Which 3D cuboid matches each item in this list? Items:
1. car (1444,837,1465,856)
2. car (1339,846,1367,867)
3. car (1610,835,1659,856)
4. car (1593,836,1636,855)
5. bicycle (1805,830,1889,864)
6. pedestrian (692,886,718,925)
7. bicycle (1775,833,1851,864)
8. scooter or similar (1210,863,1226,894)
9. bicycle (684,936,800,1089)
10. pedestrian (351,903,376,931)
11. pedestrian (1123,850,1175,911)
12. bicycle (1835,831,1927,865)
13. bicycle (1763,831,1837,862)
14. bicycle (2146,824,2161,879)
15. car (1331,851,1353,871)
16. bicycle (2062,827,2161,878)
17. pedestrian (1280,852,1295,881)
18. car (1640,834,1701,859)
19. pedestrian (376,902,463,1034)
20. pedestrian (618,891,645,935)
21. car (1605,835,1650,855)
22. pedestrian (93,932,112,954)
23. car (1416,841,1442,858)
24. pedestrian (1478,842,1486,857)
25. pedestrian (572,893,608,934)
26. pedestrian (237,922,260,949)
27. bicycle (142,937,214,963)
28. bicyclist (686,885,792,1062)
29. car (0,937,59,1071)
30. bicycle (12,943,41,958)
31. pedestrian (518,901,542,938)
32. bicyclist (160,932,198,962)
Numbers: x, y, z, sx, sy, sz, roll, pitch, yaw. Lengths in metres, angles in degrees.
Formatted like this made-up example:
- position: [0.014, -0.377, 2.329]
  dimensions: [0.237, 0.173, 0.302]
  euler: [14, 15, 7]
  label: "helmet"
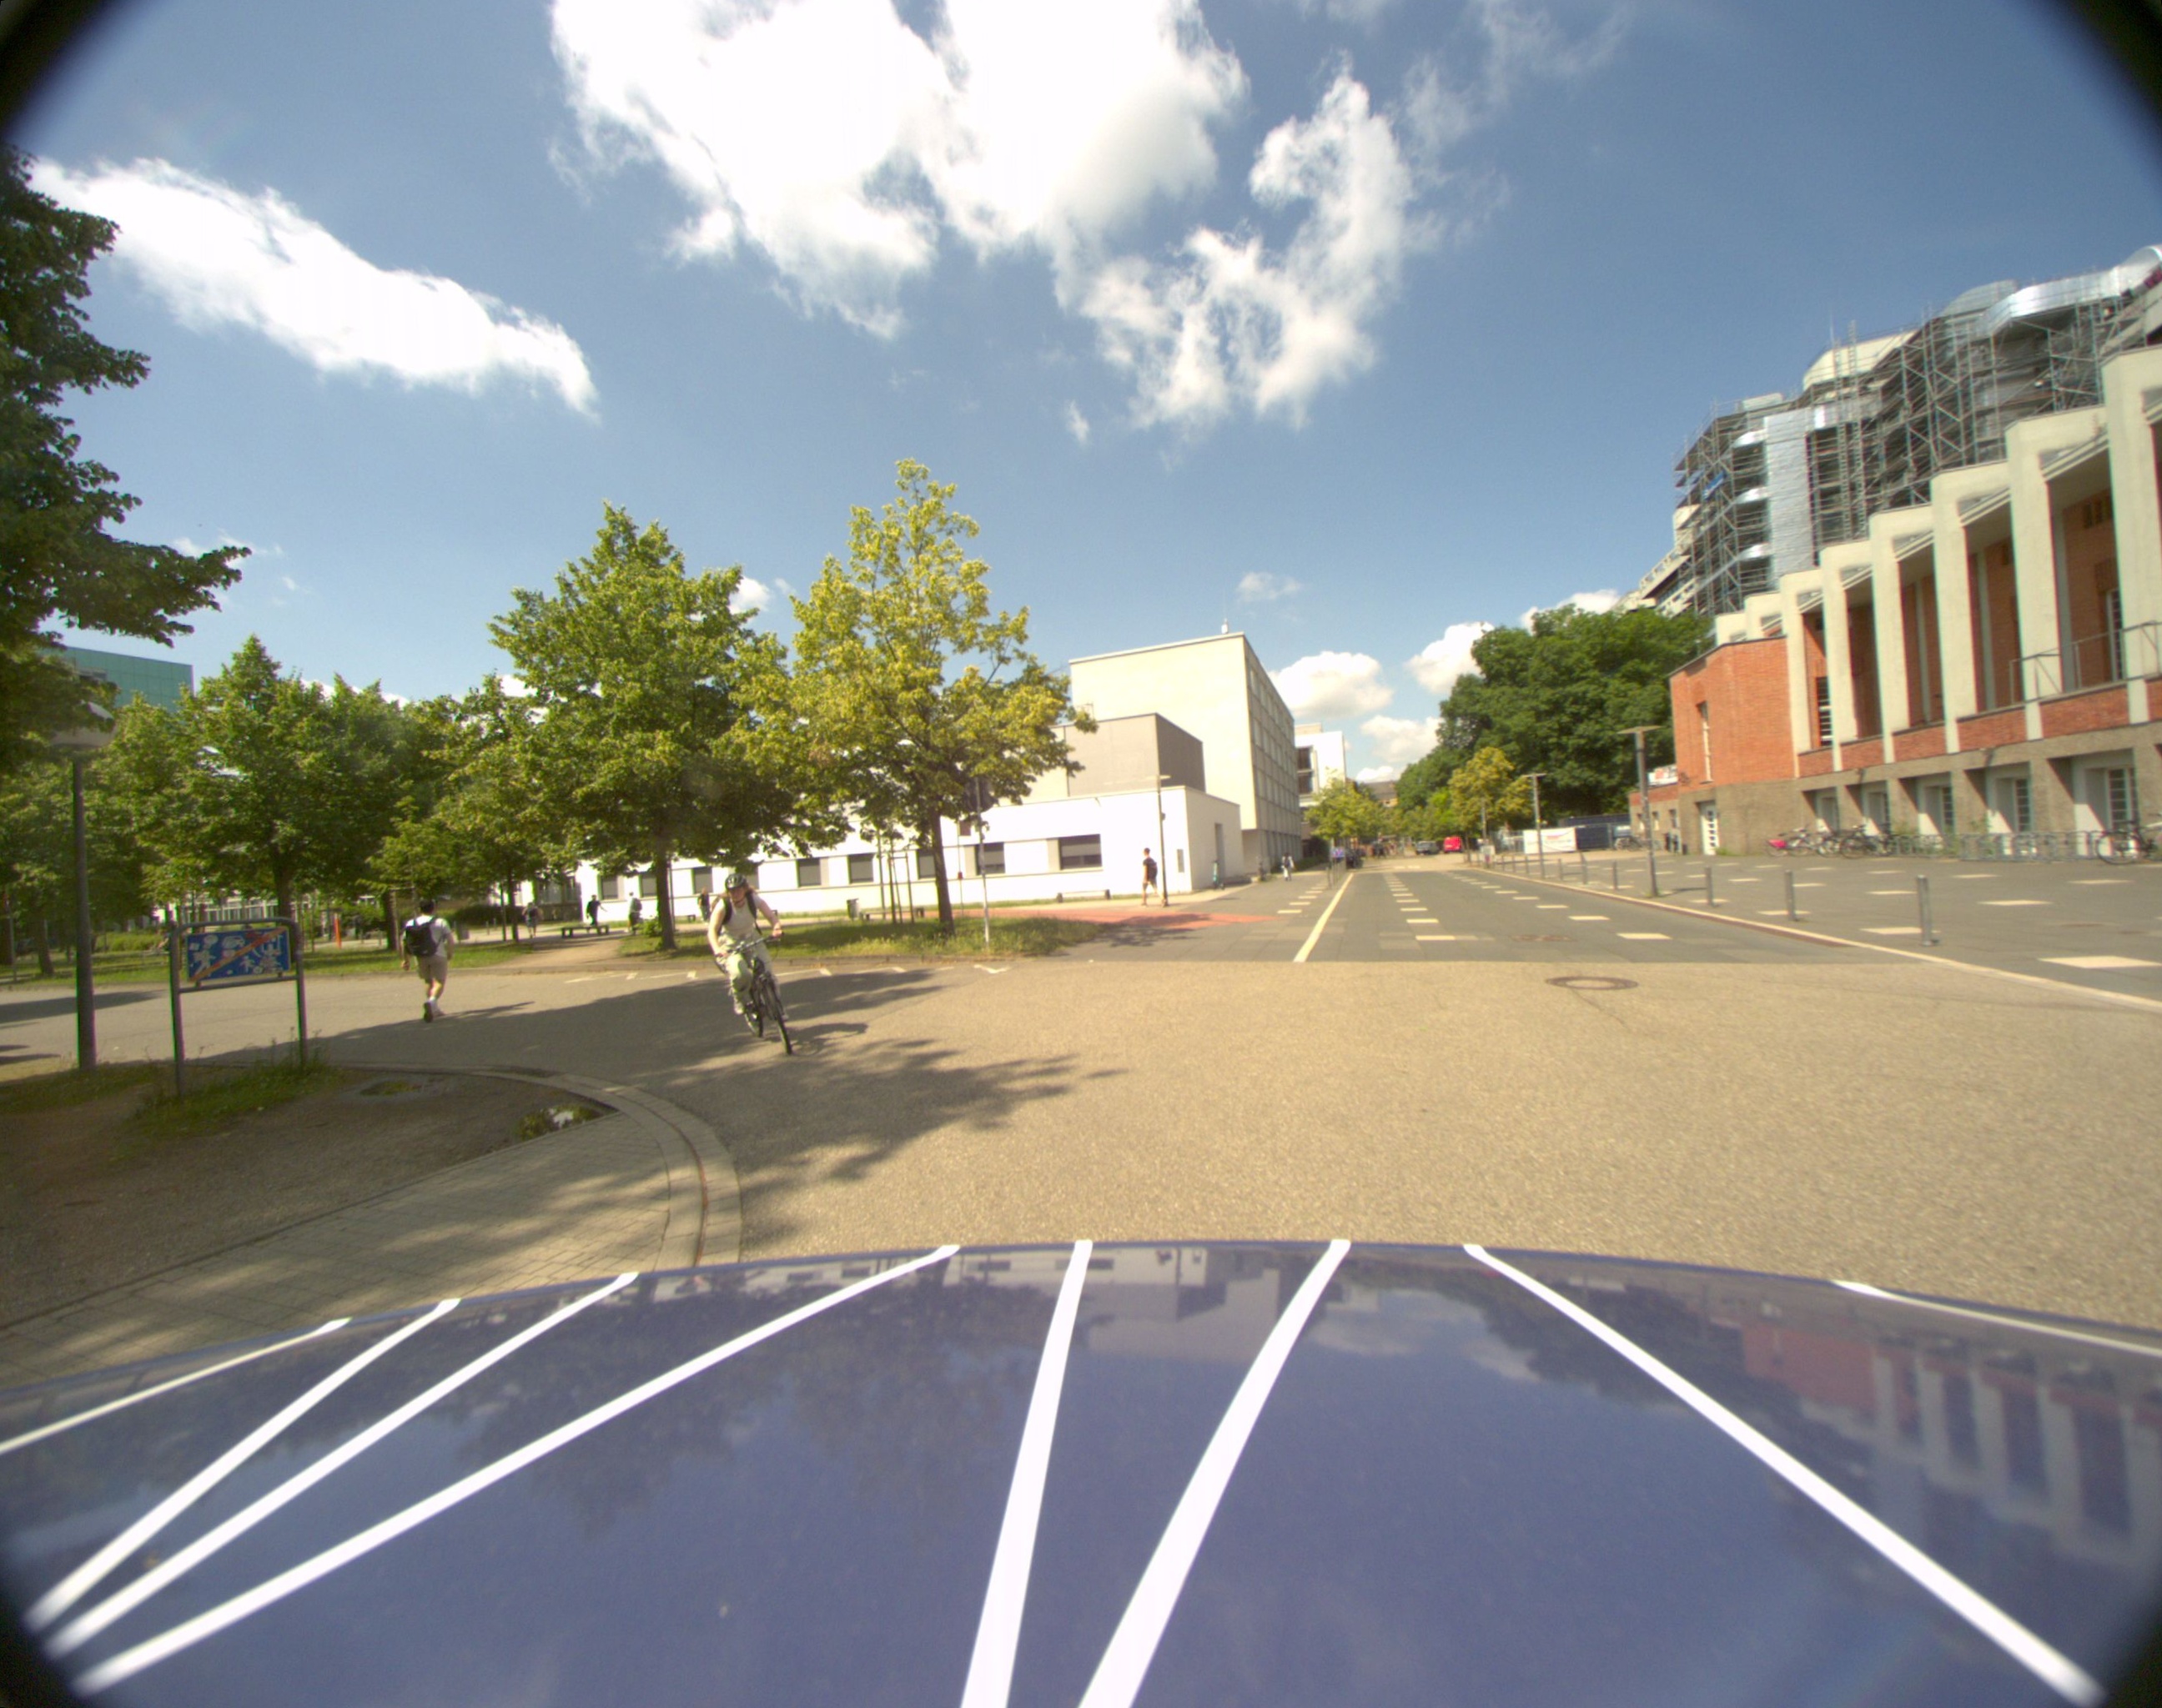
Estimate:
- position: [40.600, -0.780, 82.562]
  dimensions: [1.910, 1.870, 4.007]
  euler: [-4, -1, 27]
  label: "car"
- position: [23.898, 0.217, 66.642]
  dimensions: [1.937, 1.671, 3.475]
  euler: [-4, -1, 25]
  label: "car"
- position: [35.490, -0.566, 48.730]
  dimensions: [2.365, 1.173, 0.795]
  euler: [-4, 0, 22]
  label: "car"
- position: [37.002, -0.587, 52.743]
  dimensions: [2.321, 1.173, 0.480]
  euler: [-4, 0, 22]
  label: "car"
- position: [26.110, -0.226, 25.936]
  dimensions: [1.953, 1.024, 0.531]
  euler: [-4, 0, 20]
  label: "bicycle"
- position: [-17.103, 2.333, 34.572]
  dimensions: [0.724, 1.678, 0.630]
  euler: [-4, 0, 20]
  label: "pedestrian"
- position: [27.084, -0.201, 28.140]
  dimensions: [1.953, 1.024, 0.519]
  euler: [-4, 0, 20]
  label: "bicycle"
- position: [5.612, 0.996, 31.002]
  dimensions: [0.326, 1.228, 1.075]
  euler: [-4, 0, 23]
  label: "scooter or similar"
- position: [-3.340, 1.428, 7.361]
  dimensions: [0.676, 1.066, 2.131]
  euler: [-6, 1, -31]
  label: "bicycle"
- position: [-43.962, 3.867, 46.571]
  dimensions: [0.802, 1.639, 0.851]
  euler: [-4, 0, 31]
  label: "pedestrian"
- position: [2.062, 0.785, 23.197]
  dimensions: [1.023, 1.789, 1.168]
  euler: [-1, 0, -37]
  label: "pedestrian"
- position: [25.670, -0.185, 24.418]
  dimensions: [1.953, 0.935, 0.570]
  euler: [-4, 0, 20]
  label: "bicycle"
- position: [27.410, -0.288, 29.003]
  dimensions: [1.953, 1.024, 0.542]
  euler: [-4, 0, 20]
  label: "bicycle"
- position: [21.786, -0.101, 14.266]
  dimensions: [2.024, 1.054, 0.664]
  euler: [-4, 0, 20]
  label: "bicycle"
- position: [20.316, 0.512, 59.119]
  dimensions: [1.550, 1.377, 3.458]
  euler: [-4, -1, 19]
  label: "car"
- position: [22.279, -0.050, 15.964]
  dimensions: [1.953, 0.954, 0.685]
  euler: [-4, 0, 20]
  label: "bicycle"
- position: [10.394, 0.630, 38.276]
  dimensions: [0.524, 1.430, 0.702]
  euler: [-4, 0, 24]
  label: "pedestrian"
- position: [32.189, -0.392, 41.543]
  dimensions: [2.524, 1.173, 0.633]
  euler: [-4, 0, 22]
  label: "car"
- position: [-9.265, 1.577, 10.657]
  dimensions: [0.581, 1.734, 0.643]
  euler: [-4, 0, 23]
  label: "pedestrian"
- position: [-19.109, 2.496, 32.311]
  dimensions: [0.712, 1.759, 0.829]
  euler: [-4, 0, -19]
  label: "pedestrian"
- position: [36.235, -0.578, 50.405]
  dimensions: [2.286, 1.173, 0.525]
  euler: [-4, 0, 22]
  label: "car"
- position: [-75.287, 6.873, 58.460]
  dimensions: [0.761, 1.619, 0.597]
  euler: [-4, 0, 20]
  label: "pedestrian"
- position: [49.306, -0.637, 107.511]
  dimensions: [2.022, 2.079, 4.441]
  euler: [-5, -1, 42]
  label: "car"
- position: [43.537, -0.490, 82.413]
  dimensions: [0.642, 1.529, 0.454]
  euler: [-4, 0, 32]
  label: "pedestrian"
- position: [-22.267, 2.685, 34.470]
  dimensions: [1.092, 1.765, 0.795]
  euler: [-4, 0, 25]
  label: "pedestrian"
- position: [-55.293, 5.403, 50.465]
  dimensions: [0.634, 1.712, 0.798]
  euler: [-4, 0, 20]
  label: "pedestrian"
- position: [-41.234, 4.369, 34.720]
  dimensions: [0.797, 0.912, 1.950]
  euler: [-4, -1, 25]
  label: "bicycle"
- position: [-3.256, 1.061, 7.191]
  dimensions: [0.676, 1.470, 1.060]
  euler: [-5, 2, -31]
  label: "bicyclist"
- position: [-15.127, 1.979, 8.268]
  dimensions: [1.891, 1.642, 4.369]
  euler: [-4, -1, 19]
  label: "car"
- position: [-85.701, 7.834, 61.733]
  dimensions: [2.144, 1.026, 0.780]
  euler: [-4, 0, 20]
  label: "bicycle"
- position: [-25.508, 3.022, 35.161]
  dimensions: [0.728, 1.647, 0.714]
  euler: [-4, 0, -29]
  label: "pedestrian"
- position: [-41.238, 4.268, 34.752]
  dimensions: [0.797, 1.252, 0.903]
  euler: [-4, 0, 25]
  label: "bicyclist"
